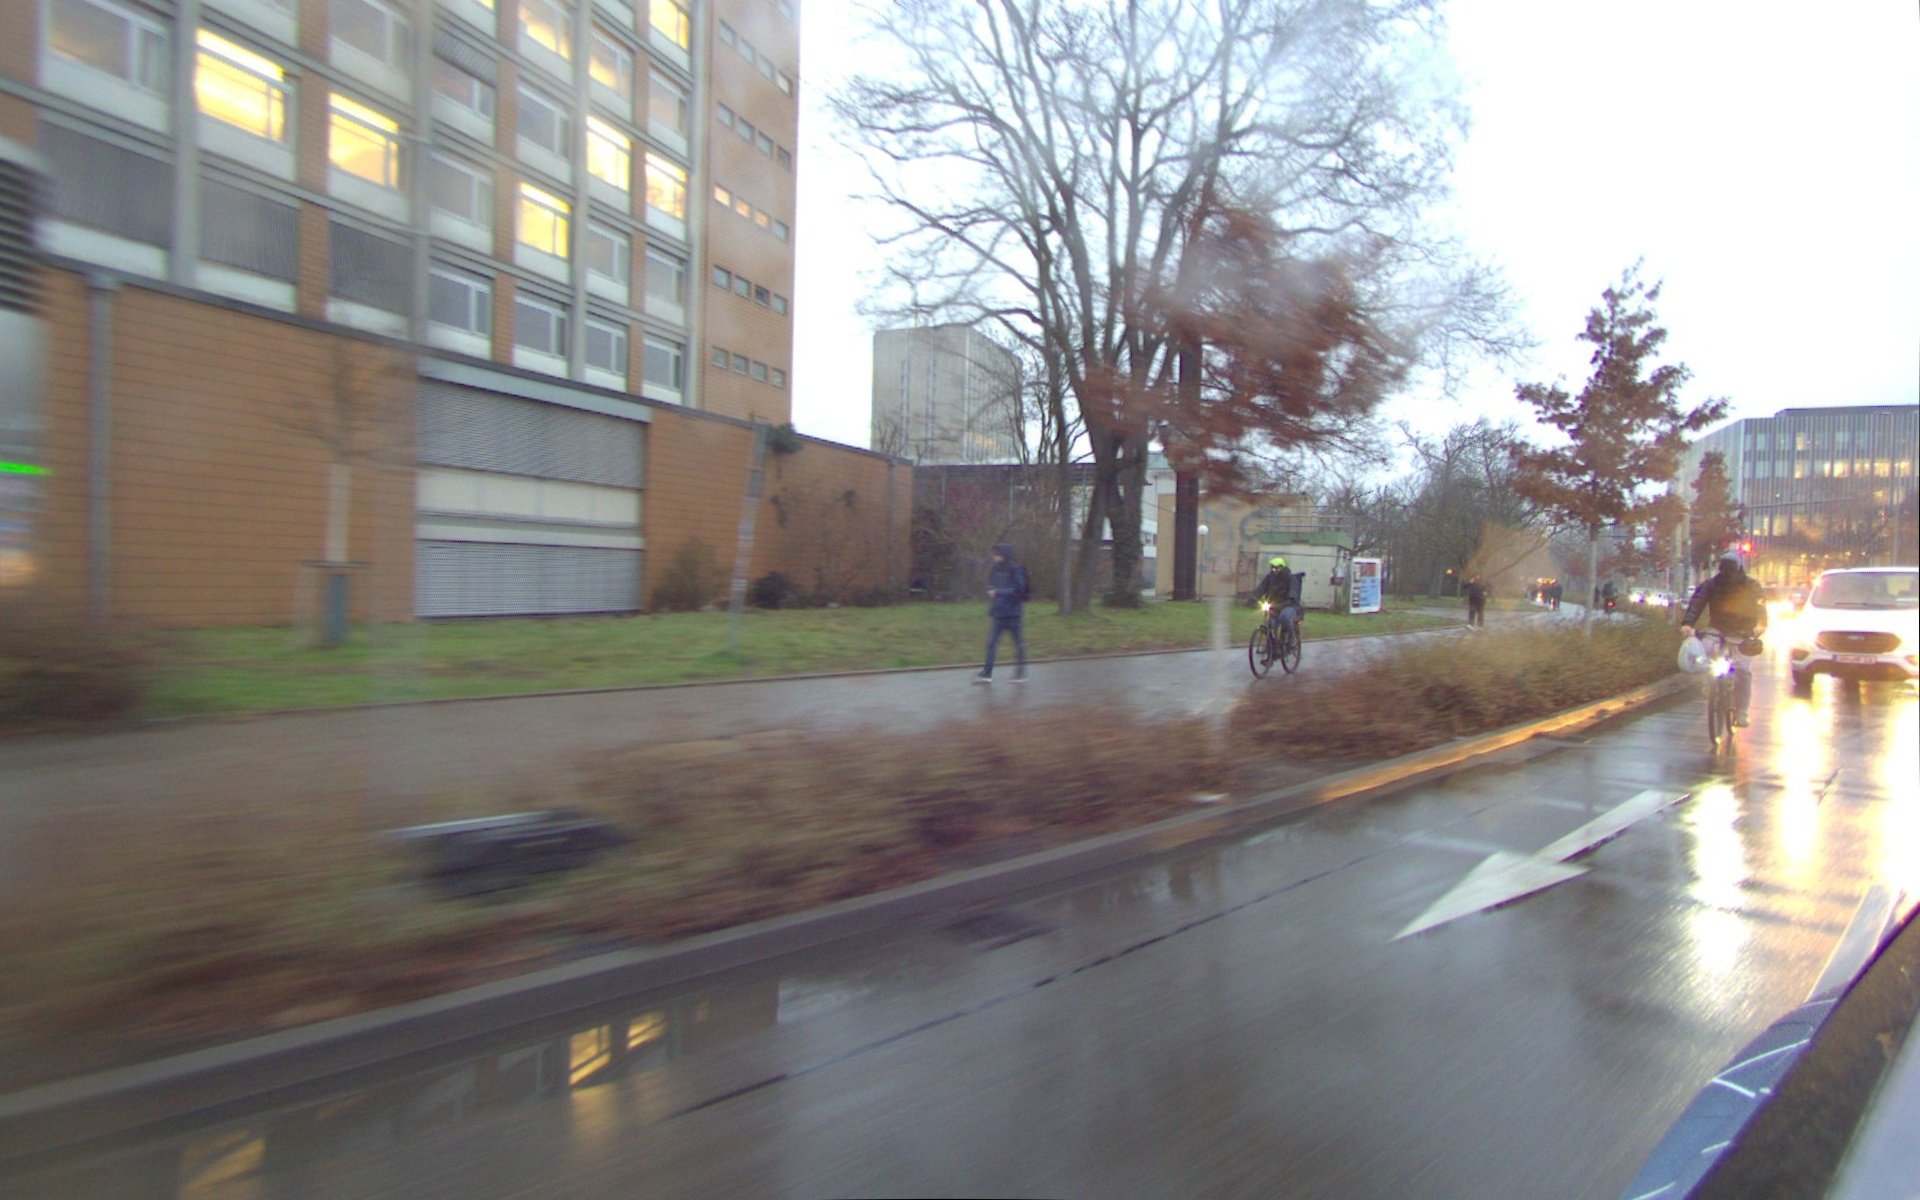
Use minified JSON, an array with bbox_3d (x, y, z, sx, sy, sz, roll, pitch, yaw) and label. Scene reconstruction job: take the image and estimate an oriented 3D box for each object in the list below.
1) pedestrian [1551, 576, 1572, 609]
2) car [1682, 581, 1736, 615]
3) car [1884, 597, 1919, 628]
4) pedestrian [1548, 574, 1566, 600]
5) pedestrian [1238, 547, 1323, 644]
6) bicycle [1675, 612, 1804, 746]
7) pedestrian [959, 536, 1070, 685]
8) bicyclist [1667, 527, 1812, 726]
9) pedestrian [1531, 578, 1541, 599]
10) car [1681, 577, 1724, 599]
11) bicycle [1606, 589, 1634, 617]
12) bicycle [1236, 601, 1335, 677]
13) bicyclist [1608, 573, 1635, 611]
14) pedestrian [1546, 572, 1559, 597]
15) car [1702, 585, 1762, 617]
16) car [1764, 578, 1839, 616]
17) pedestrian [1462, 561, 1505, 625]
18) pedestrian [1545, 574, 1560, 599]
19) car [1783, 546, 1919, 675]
[{"bbox_3d":[34.806,-0.433,58.597,0.925,1.848,0.826,3,2,28],"label":"pedestrian"},{"bbox_3d":[44.274,-0.141,59.898,1.983,1.860,3.959,2,2,29],"label":"car"},{"bbox_3d":[47.905,0.644,50.200,1.914,1.393,4.456,3,3,27],"label":"car"},{"bbox_3d":[42.204,-0.932,71.539,0.925,1.848,0.826,3,2,28],"label":"pedestrian"},{"bbox_3d":[4.645,-0.087,14.655,0.874,1.333,0.836,3,3,41],"label":"pedestrian"},{"bbox_3d":[8.189,0.764,10.605,1.872,1.238,0.793,0,1,-44],"label":"bicycle"},{"bbox_3d":[0.670,0.100,12.385,0.808,1.708,1.053,5,4,45],"label":"pedestrian"},{"bbox_3d":[8.099,0.242,10.507,1.215,1.907,1.024,0,1,-44],"label":"bicyclist"},{"bbox_3d":[56.488,-1.122,99.267,0.758,2.038,0.766,2,2,27],"label":"pedestrian"},{"bbox_3d":[59.076,-0.992,80.581,1.982,1.586,4.717,4,3,27],"label":"car"},{"bbox_3d":[29.517,0.115,45.250,0.802,1.155,2.184,6,4,37],"label":"bicycle"},{"bbox_3d":[4.753,0.526,14.693,0.561,0.958,2.064,3,3,41],"label":"bicycle"},{"bbox_3d":[29.599,-0.371,45.286,0.802,1.637,1.071,6,4,37],"label":"bicyclist"},{"bbox_3d":[49.006,-1.279,83.727,0.758,2.038,0.902,2,2,27],"label":"pedestrian"},{"bbox_3d":[41.343,0.035,54.310,1.758,1.504,4.428,3,3,27],"label":"car"},{"bbox_3d":[44.221,-0.200,53.300,1.982,1.771,4.899,3,3,27],"label":"car"},{"bbox_3d":[14.774,-0.200,28.553,0.906,1.708,0.917,4,1,32],"label":"pedestrian"},{"bbox_3d":[45.185,-1.038,77.187,0.925,1.848,0.826,3,2,28],"label":"pedestrian"},{"bbox_3d":[16.119,0.231,17.208,4.922,1.945,2.138,3,0,-37],"label":"car"}]
